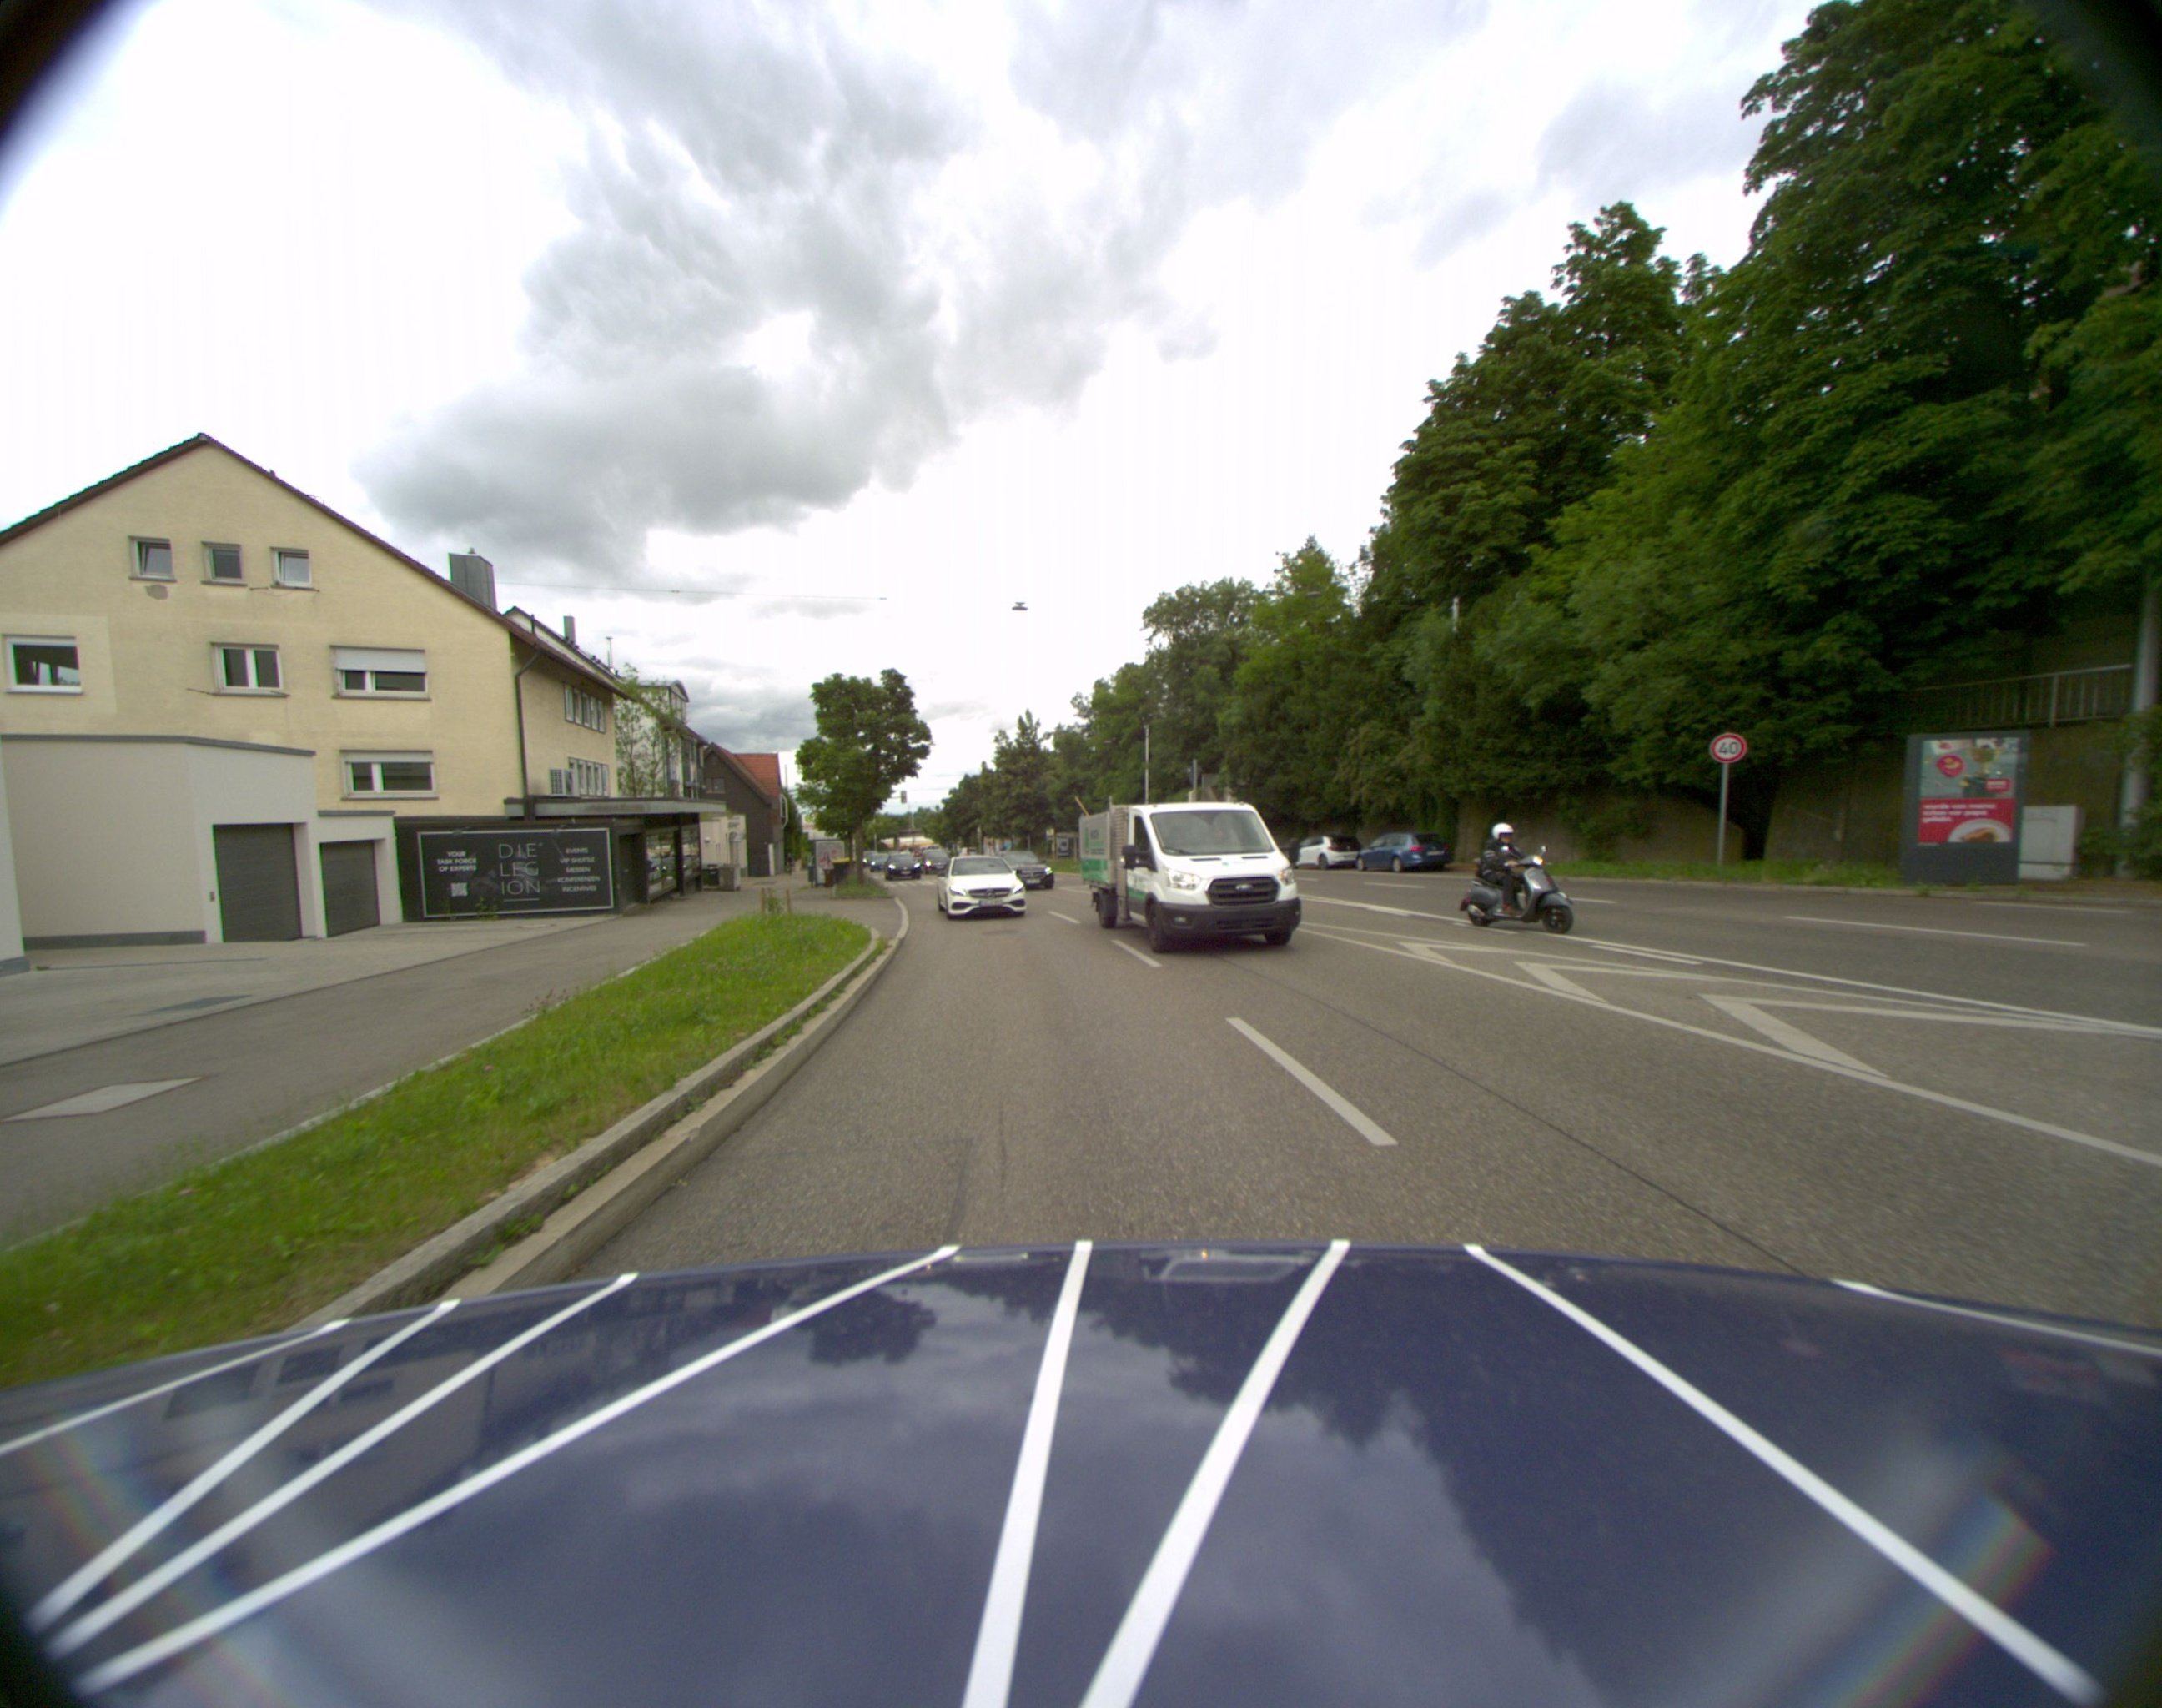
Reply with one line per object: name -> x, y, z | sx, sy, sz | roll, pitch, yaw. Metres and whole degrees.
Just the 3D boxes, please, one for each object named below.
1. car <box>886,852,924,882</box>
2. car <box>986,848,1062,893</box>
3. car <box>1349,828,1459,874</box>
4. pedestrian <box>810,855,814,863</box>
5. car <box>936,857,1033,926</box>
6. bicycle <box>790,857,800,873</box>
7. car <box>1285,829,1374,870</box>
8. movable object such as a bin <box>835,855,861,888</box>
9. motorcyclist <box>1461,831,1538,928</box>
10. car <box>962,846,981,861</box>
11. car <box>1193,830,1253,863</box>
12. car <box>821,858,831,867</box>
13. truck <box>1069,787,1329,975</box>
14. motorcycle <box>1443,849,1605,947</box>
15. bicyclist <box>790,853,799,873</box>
car -> -10.226, 0.722, 43.890 | 1.780, 1.532, 3.994 | -4, 1, -17
car -> -2.276, 0.604, 29.155 | 1.918, 1.472, 4.394 | -4, 1, -17
car -> 11.996, -0.108, 28.542 | 1.717, 1.520, 4.297 | -3, 1, -9
pedestrian -> -50.424, 0.923, 142.476 | 0.714, 1.462, 0.694 | -4, 1, -18
car -> -2.460, 0.813, 18.479 | 1.819, 1.391, 3.995 | -3, 1, -14
bicycle -> -23.245, 0.877, 61.783 | 0.573, 1.255, 2.036 | -2, 0, -18
car -> 11.037, -0.181, 34.092 | 1.786, 1.619, 4.165 | -3, 1, -14
movable object such as a bin -> -11.001, 0.789, 35.891 | 1.089, 1.473, 1.534 | -3, 1, -17
motorcyclist -> 6.368, 0.372, 11.589 | 0.685, 1.411, 0.722 | -3, 1, -18
car -> -15.828, -0.049, 109.864 | 1.946, 1.946, 5.014 | -3, 1, -17
car -> 8.495, -0.432, 45.940 | 1.786, 1.832, 4.482 | -4, 1, -14
car -> -50.722, 1.617, 151.126 | 1.925, 1.641, 3.994 | -3, 0, -18
truck -> 1.517, 0.274, 12.849 | 2.083, 2.308, 6.323 | -3, 2, -13
motorcycle -> 6.580, 0.600, 11.434 | 0.831, 1.291, 2.042 | -3, 1, -19
bicyclist -> -23.222, 0.722, 61.571 | 0.540, 1.624, 0.946 | -3, 1, -17
